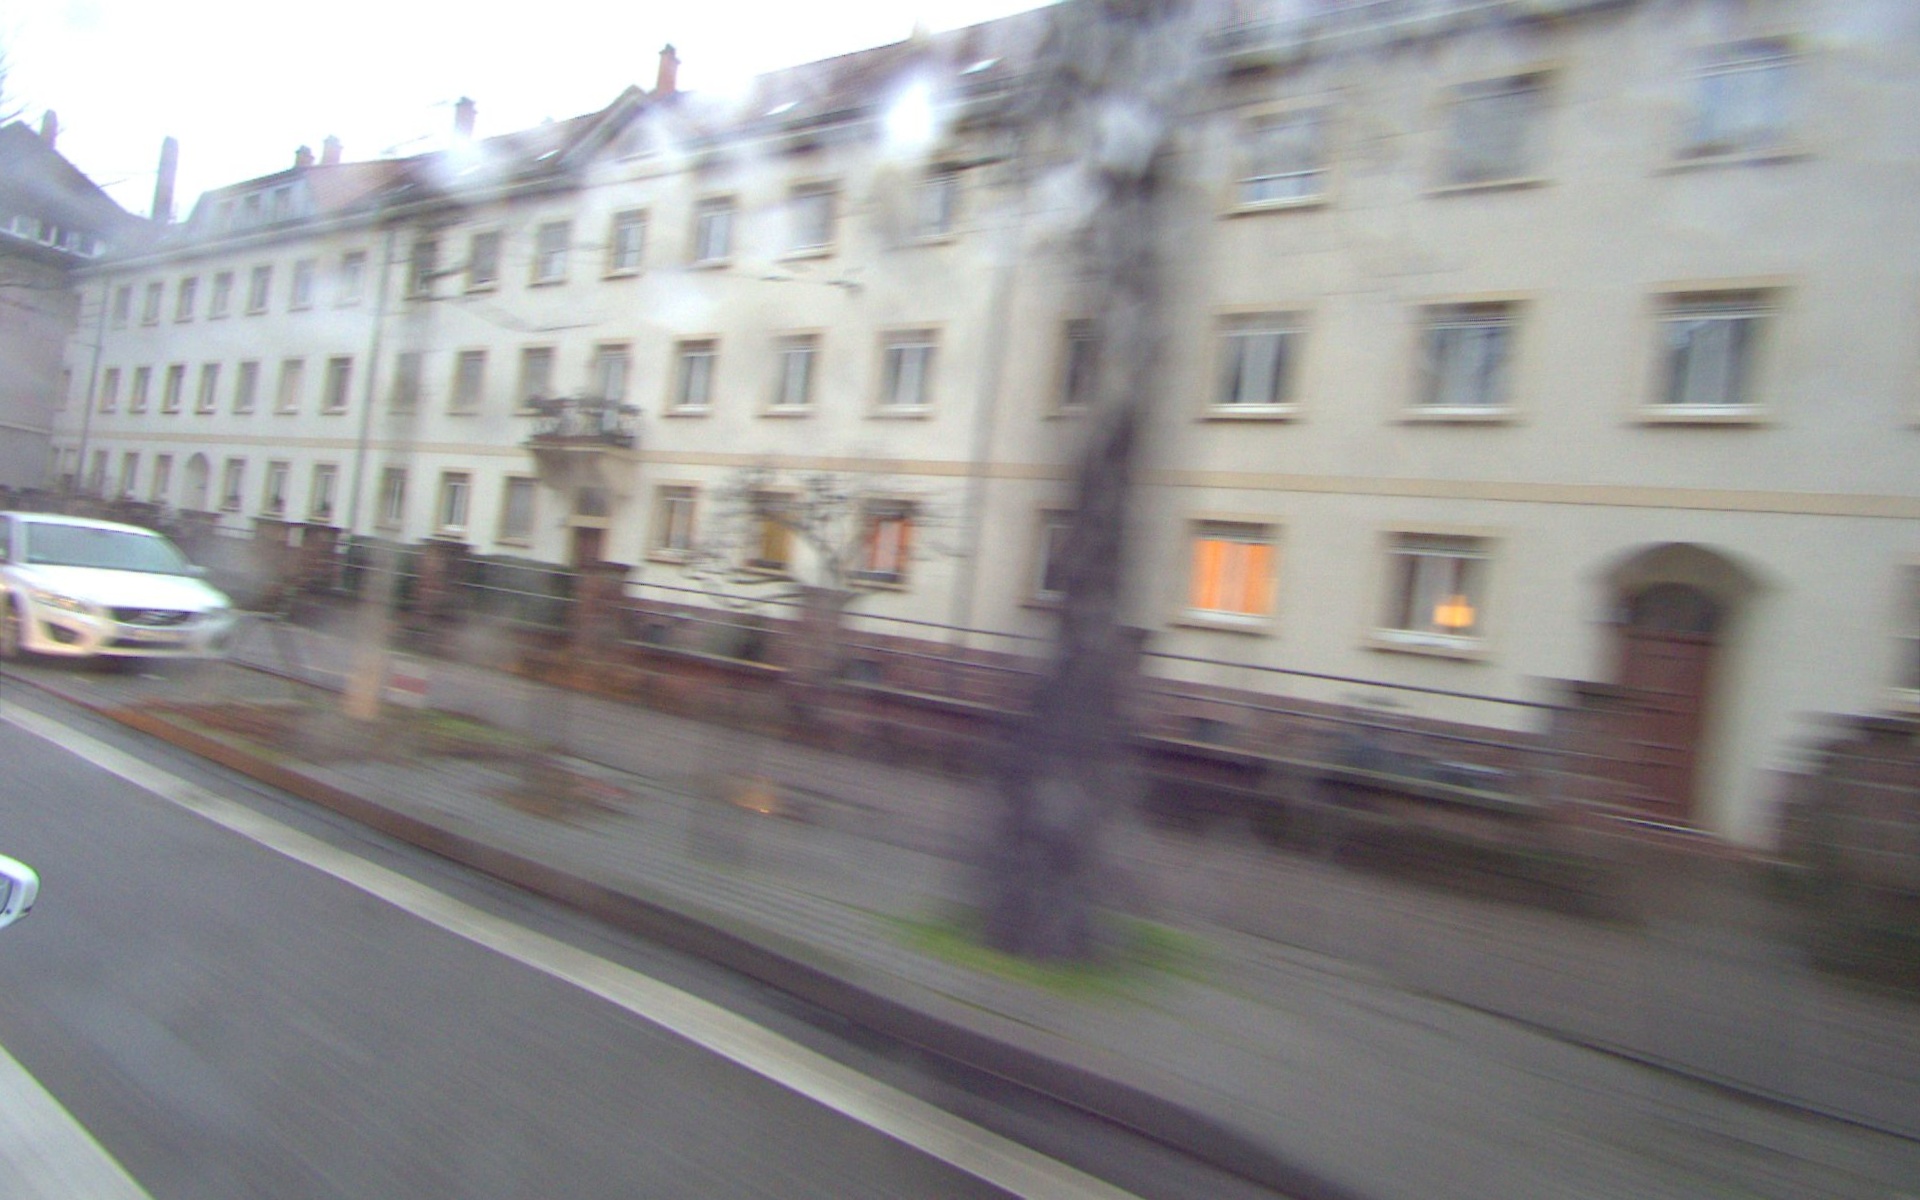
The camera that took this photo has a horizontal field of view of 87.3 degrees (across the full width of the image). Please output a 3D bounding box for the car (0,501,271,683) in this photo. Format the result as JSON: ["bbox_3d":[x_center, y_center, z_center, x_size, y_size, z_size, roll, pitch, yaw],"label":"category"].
[{"bbox_3d":[-9.443,-0.170,10.859,4.041,1.527,1.788,7,-1,33],"label":"car"}]
